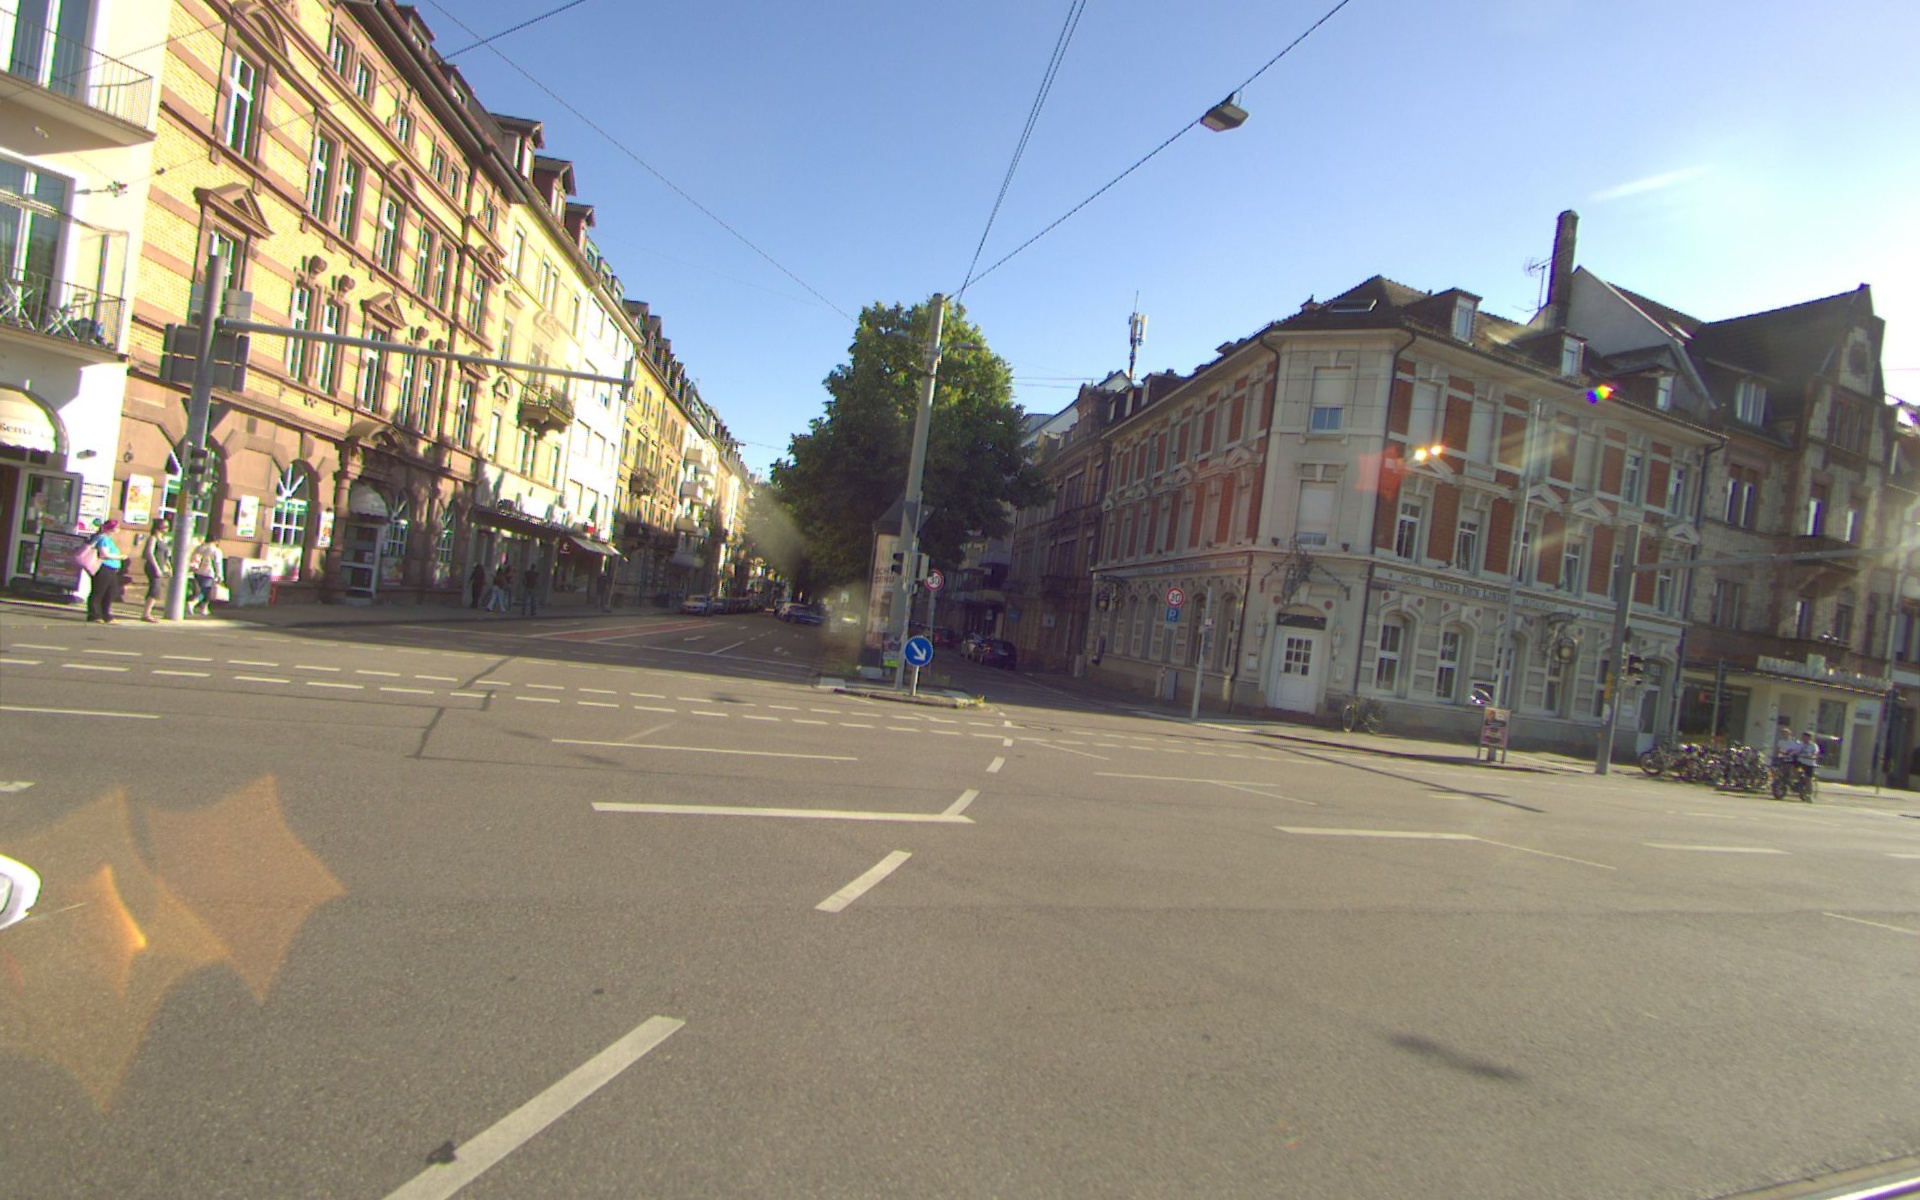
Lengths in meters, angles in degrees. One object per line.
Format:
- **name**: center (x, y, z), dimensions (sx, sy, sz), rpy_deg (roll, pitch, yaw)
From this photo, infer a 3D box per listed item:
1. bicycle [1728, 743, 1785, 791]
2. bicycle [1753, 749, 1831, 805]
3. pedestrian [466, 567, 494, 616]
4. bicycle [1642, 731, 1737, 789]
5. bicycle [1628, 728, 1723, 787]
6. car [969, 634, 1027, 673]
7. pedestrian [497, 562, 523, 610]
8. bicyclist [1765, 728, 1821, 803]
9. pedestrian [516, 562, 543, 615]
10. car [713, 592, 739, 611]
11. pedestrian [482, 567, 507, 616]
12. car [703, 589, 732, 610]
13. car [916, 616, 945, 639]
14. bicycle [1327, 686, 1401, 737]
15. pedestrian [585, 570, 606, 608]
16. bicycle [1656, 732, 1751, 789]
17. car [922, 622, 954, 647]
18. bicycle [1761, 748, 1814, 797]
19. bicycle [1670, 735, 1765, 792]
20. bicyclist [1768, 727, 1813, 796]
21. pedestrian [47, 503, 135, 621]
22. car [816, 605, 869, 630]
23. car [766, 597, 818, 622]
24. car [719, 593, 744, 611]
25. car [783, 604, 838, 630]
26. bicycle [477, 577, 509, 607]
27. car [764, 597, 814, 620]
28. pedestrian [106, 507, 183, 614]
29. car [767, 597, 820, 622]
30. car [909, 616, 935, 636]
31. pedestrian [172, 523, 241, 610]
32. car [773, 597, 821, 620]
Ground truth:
- **bicycle**: center (22.634, 4.744, 28.580), dimensions (1.950, 1.205, 0.672), rpy_deg (8, 0, -36)
- **bicycle**: center (21.554, 4.586, 26.052), dimensions (1.941, 1.205, 0.598), rpy_deg (8, 0, -22)
- **pedestrian**: center (-16.902, -0.294, 35.419), dimensions (0.619, 1.662, 0.536), rpy_deg (7, 1, -14)
- **bicycle**: center (20.179, 4.416, 27.883), dimensions (0.670, 1.205, 1.956), rpy_deg (7, 0, -23)
- **bicycle**: center (19.567, 4.297, 27.567), dimensions (0.670, 1.205, 1.956), rpy_deg (7, 0, -23)
- **car**: center (1.892, 2.691, 51.418), dimensions (1.967, 1.515, 4.026), rpy_deg (8, 0, -10)
- **pedestrian**: center (-16.304, -0.491, 36.448), dimensions (0.543, 1.662, 0.632), rpy_deg (7, 1, -9)
- **bicyclist**: center (21.535, 4.286, 26.022), dimensions (0.864, 1.785, 0.598), rpy_deg (7, 1, -22)
- **pedestrian**: center (-15.767, -0.434, 36.886), dimensions (0.571, 1.859, 0.632), rpy_deg (7, 1, -8)
- **car**: center (-21.956, 0.135, 94.384), dimensions (1.967, 1.515, 4.026), rpy_deg (8, 0, -10)
- **pedestrian**: center (-16.443, -0.307, 35.528), dimensions (0.543, 1.662, 0.536), rpy_deg (7, 1, -13)
- **car**: center (-20.459, -0.050, 85.018), dimensions (1.967, 1.515, 4.026), rpy_deg (8, 0, -10)
- **car**: center (-2.546, 2.337, 86.293), dimensions (1.965, 1.515, 4.029), rpy_deg (8, 0, -7)
- **bicycle**: center (11.293, 3.118, 28.113), dimensions (1.940, 1.205, 0.544), rpy_deg (8, 0, -20)
- **pedestrian**: center (-19.162, -0.578, 52.909), dimensions (0.672, 1.932, 0.632), rpy_deg (7, 1, -8)
- **bicycle**: center (20.764, 4.464, 28.153), dimensions (0.670, 1.205, 1.956), rpy_deg (7, 0, -23)
- **car**: center (-1.709, 2.663, 77.311), dimensions (1.965, 1.515, 4.029), rpy_deg (8, 0, -7)
- **bicycle**: center (22.807, 4.759, 27.715), dimensions (1.951, 1.205, 0.595), rpy_deg (8, 0, -38)
- **bicycle**: center (21.364, 4.593, 28.427), dimensions (0.670, 1.205, 1.956), rpy_deg (7, 0, -23)
- **bicyclist**: center (22.913, 4.466, 27.758), dimensions (0.899, 1.785, 0.595), rpy_deg (7, 1, -38)
- **pedestrian**: center (-13.120, -0.564, 15.208), dimensions (0.666, 1.662, 0.577), rpy_deg (7, 1, -11)
- **car**: center (-9.724, 1.447, 83.485), dimensions (3.924, 1.564, 2.001), rpy_deg (8, 0, 6)
- **car**: center (-14.517, 0.822, 87.066), dimensions (3.925, 1.564, 2.001), rpy_deg (8, 0, 4)
- **car**: center (-22.506, 0.176, 99.226), dimensions (1.967, 1.515, 4.026), rpy_deg (8, 0, -10)
- **car**: center (-12.101, 1.350, 81.420), dimensions (3.925, 1.564, 2.001), rpy_deg (8, 0, 4)
- **bicycle**: center (-18.081, -0.294, 38.987), dimensions (0.488, 1.080, 1.767), rpy_deg (7, 0, -8)
- **car**: center (-15.212, 0.783, 89.696), dimensions (3.925, 1.564, 2.001), rpy_deg (8, 0, 4)
- **pedestrian**: center (-13.519, -0.639, 16.691), dimensions (0.623, 1.661, 0.551), rpy_deg (8, 0, -11)
- **car**: center (-13.928, 0.839, 84.294), dimensions (3.925, 1.564, 2.001), rpy_deg (8, 0, 4)
- **car**: center (-3.545, 2.371, 93.710), dimensions (1.965, 1.515, 4.029), rpy_deg (8, 0, -7)
- **pedestrian**: center (-14.300, -0.626, 19.111), dimensions (0.684, 1.543, 0.658), rpy_deg (7, 1, -11)
- **car**: center (-15.175, 0.815, 93.730), dimensions (3.925, 1.564, 2.001), rpy_deg (8, 0, 4)
